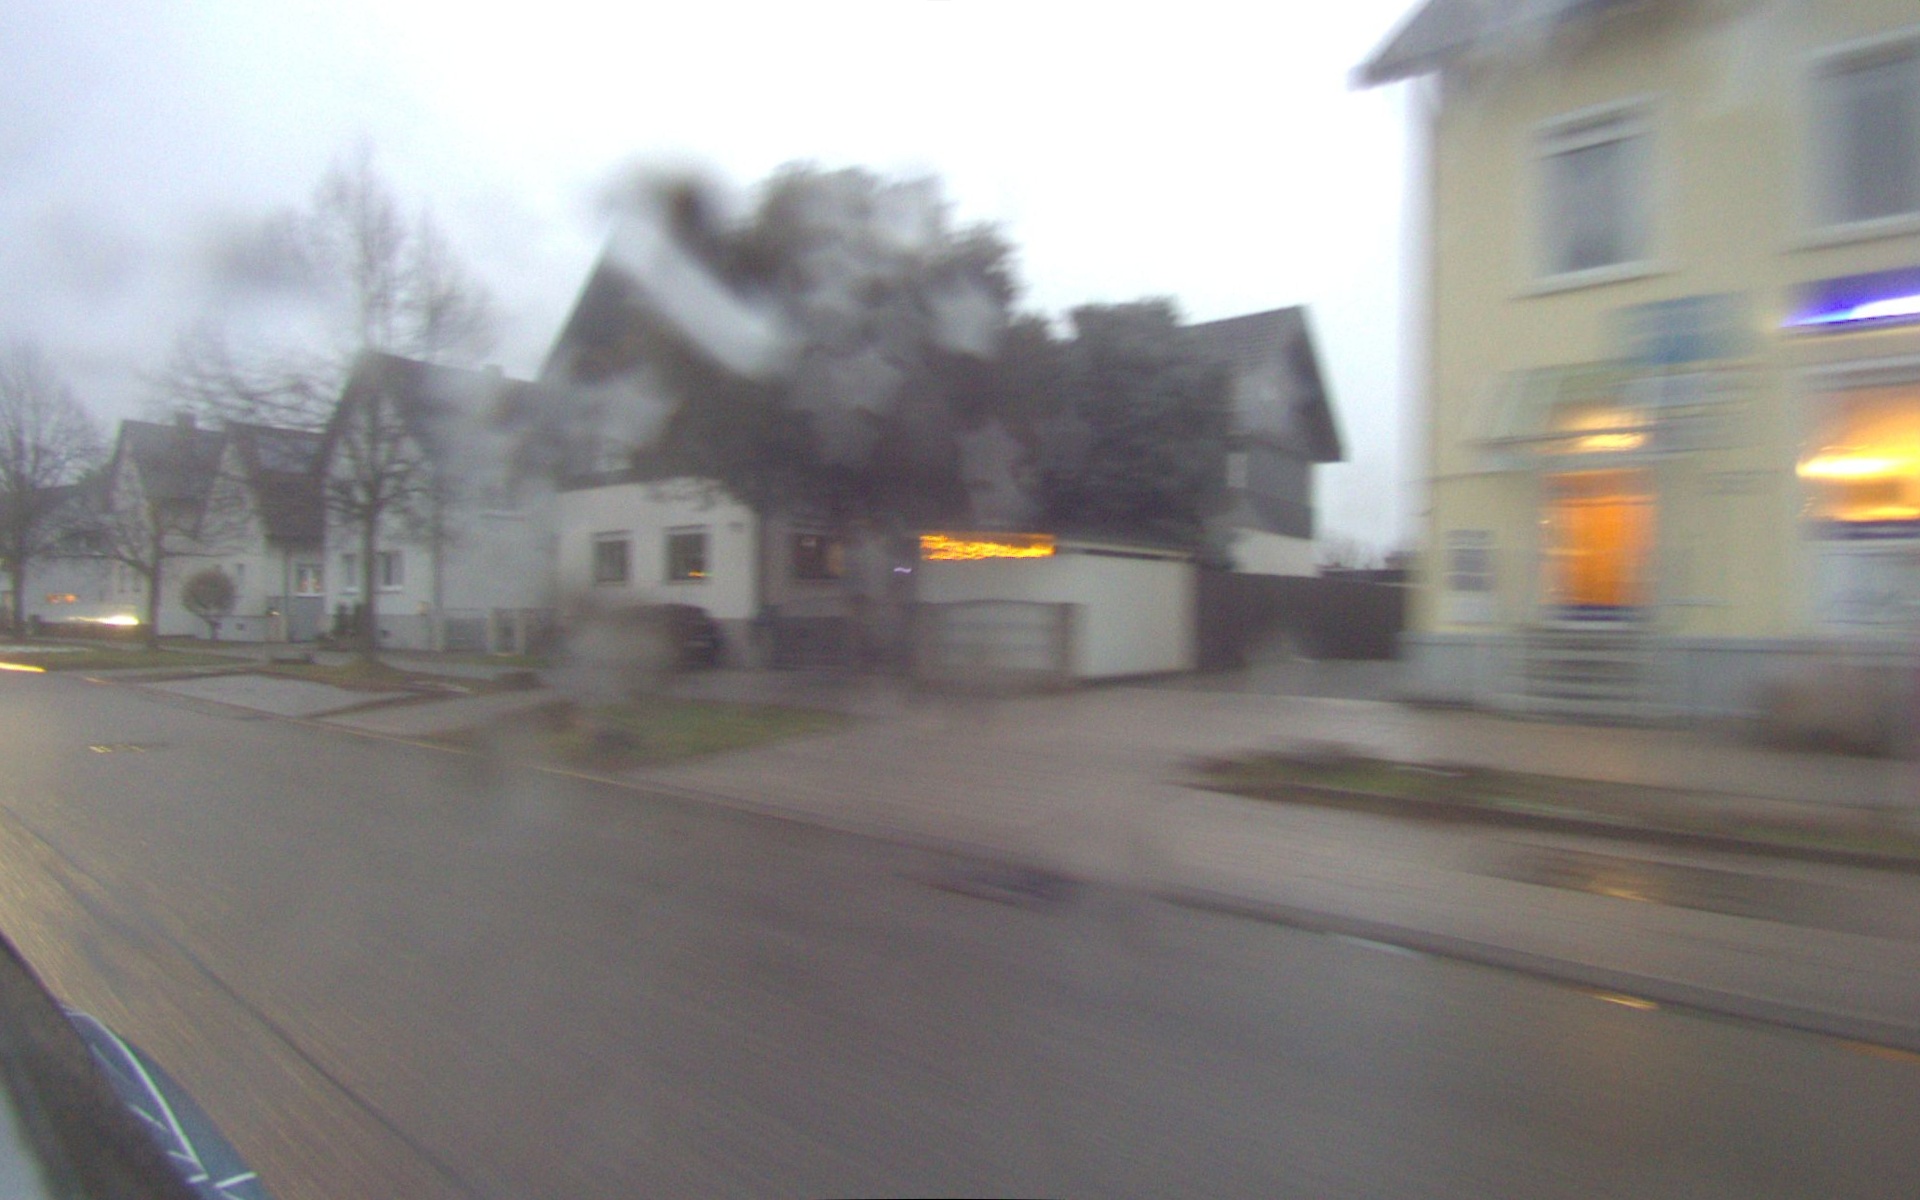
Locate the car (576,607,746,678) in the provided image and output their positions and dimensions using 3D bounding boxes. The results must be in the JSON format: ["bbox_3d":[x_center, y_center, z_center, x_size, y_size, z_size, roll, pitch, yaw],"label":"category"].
[{"bbox_3d":[-6.615,0.853,22.192,3.999,1.376,1.763,0,0,42],"label":"car"}]
